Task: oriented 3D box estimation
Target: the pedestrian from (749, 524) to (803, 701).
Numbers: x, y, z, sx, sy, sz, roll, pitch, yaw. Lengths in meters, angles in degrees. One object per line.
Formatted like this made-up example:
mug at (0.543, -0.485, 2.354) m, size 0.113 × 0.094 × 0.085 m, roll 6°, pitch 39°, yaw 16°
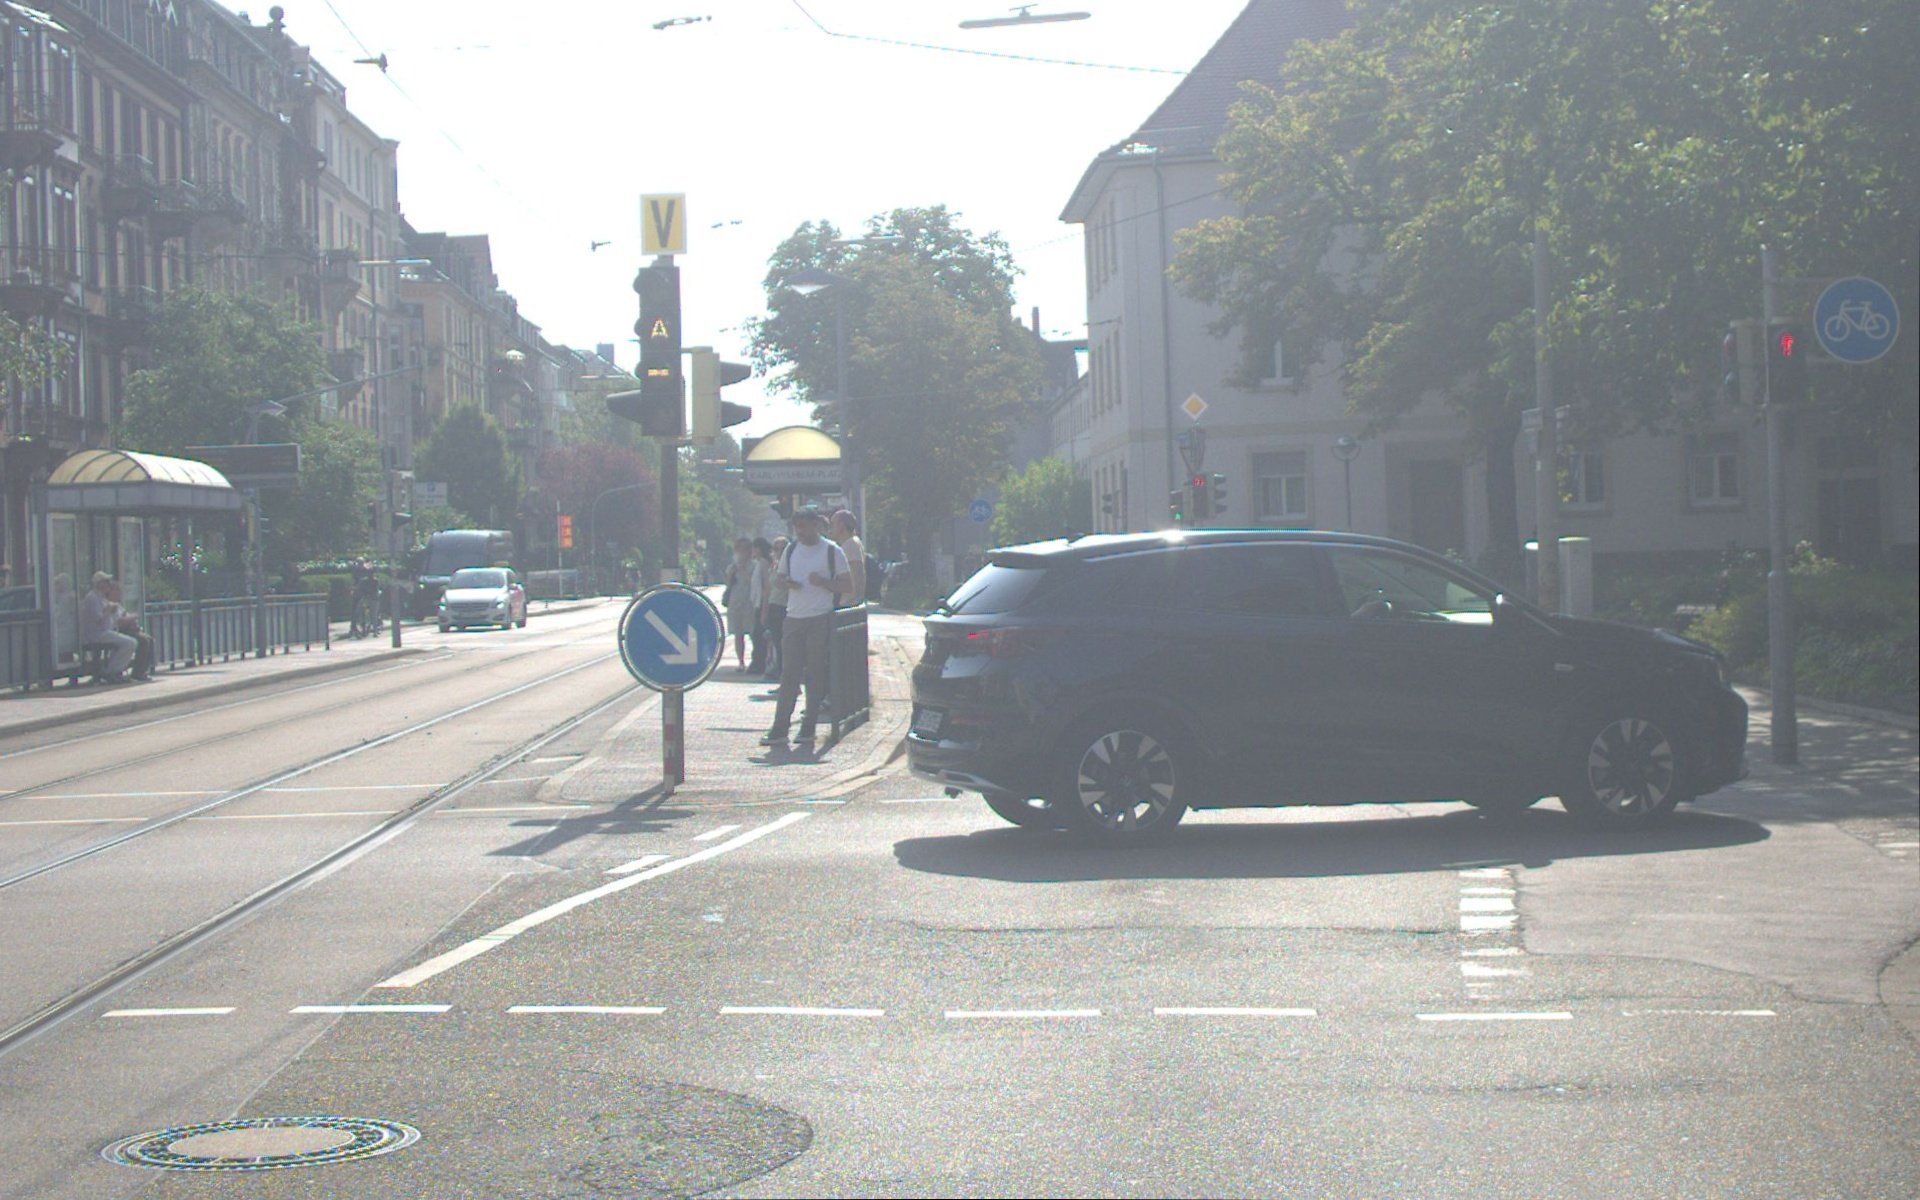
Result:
pedestrian at (-1.857, 0.121, 34.708) m, size 0.504 × 1.753 × 0.534 m, roll 1°, pitch 3°, yaw -1°

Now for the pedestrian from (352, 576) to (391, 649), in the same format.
pedestrian at (-14.230, 0.297, 83.094) m, size 0.750 × 1.725 × 0.771 m, roll -2°, pitch 1°, yaw 1°

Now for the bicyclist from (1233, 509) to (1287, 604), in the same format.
bicyclist at (5.985, -0.864, 68.535) m, size 0.987 × 1.851 × 0.493 m, roll -1°, pitch 1°, yaw 10°

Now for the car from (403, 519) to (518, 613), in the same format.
car at (-14.737, -1.021, 101.679) m, size 2.347 × 2.653 × 5.104 m, roll -2°, pitch 1°, yaw 3°

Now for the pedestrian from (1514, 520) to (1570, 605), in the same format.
pedestrian at (12.217, -0.788, 72.158) m, size 0.893 × 1.734 × 0.775 m, roll -1°, pitch 1°, yaw 32°

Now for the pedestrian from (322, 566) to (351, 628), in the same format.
pedestrian at (-17.621, -0.098, 97.147) m, size 0.750 × 1.725 × 0.772 m, roll -2°, pitch 1°, yaw -10°

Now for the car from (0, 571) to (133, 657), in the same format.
car at (-18.330, 0.284, 65.978) m, size 4.322 × 1.564 × 2.000 m, roll -2°, pitch 1°, yaw -34°

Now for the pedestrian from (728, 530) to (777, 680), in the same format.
pedestrian at (-2.471, 0.054, 40.939) m, size 0.532 × 1.753 × 0.545 m, roll 1°, pitch 3°, yaw 0°

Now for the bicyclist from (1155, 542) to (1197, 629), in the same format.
bicyclist at (3.560, -0.245, 56.781) m, size 0.558 × 1.412 × 0.872 m, roll -2°, pitch 1°, yaw -3°

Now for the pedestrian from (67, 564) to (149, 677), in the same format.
pedestrian at (-10.476, 0.241, 42.302) m, size 0.827 × 1.354 × 0.776 m, roll -2°, pitch 1°, yaw -5°

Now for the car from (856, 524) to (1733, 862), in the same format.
car at (1.712, 0.419, 17.900) m, size 4.213 × 1.510 × 1.612 m, roll -2°, pitch 2°, yaw -14°

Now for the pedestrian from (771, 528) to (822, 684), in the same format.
pedestrian at (-1.881, 0.066, 39.525) m, size 0.543 × 1.753 × 0.534 m, roll 1°, pitch 3°, yaw -1°

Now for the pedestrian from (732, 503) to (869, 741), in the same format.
pedestrian at (-1.191, 0.149, 25.742) m, size 0.701 × 1.719 × 0.747 m, roll 3°, pitch 4°, yaw 32°

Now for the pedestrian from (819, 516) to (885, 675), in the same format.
pedestrian at (-1.218, -0.054, 38.908) m, size 0.709 × 1.753 × 0.534 m, roll 1°, pitch 3°, yaw -1°

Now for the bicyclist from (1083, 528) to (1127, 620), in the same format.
bicyclist at (2.414, -0.435, 57.240) m, size 0.629 × 1.502 × 0.678 m, roll -2°, pitch 1°, yaw -3°

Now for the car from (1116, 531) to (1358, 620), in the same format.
car at (5.344, -0.478, 66.098) m, size 4.325 × 1.564 × 1.999 m, roll -1°, pitch 1°, yaw 14°

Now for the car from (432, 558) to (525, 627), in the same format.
car at (-12.091, -0.202, 86.494) m, size 1.801 × 1.648 × 3.642 m, roll -2°, pitch 1°, yaw 0°

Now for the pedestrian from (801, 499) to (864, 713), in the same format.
pedestrian at (-1.111, 0.046, 30.008) m, size 0.504 × 1.827 × 0.534 m, roll 1°, pitch 3°, yaw -1°

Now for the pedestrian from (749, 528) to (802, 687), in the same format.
pedestrian at (-2.077, 0.083, 38.715) m, size 0.543 × 1.753 × 0.534 m, roll 1°, pitch 3°, yaw -1°

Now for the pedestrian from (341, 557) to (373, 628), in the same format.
pedestrian at (-14.950, -0.181, 85.229) m, size 0.750 × 1.725 × 0.772 m, roll -2°, pitch 1°, yaw -10°

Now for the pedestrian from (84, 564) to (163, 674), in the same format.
pedestrian at (-10.521, 0.231, 43.278) m, size 0.827 × 1.354 × 0.776 m, roll -2°, pitch 1°, yaw -5°
